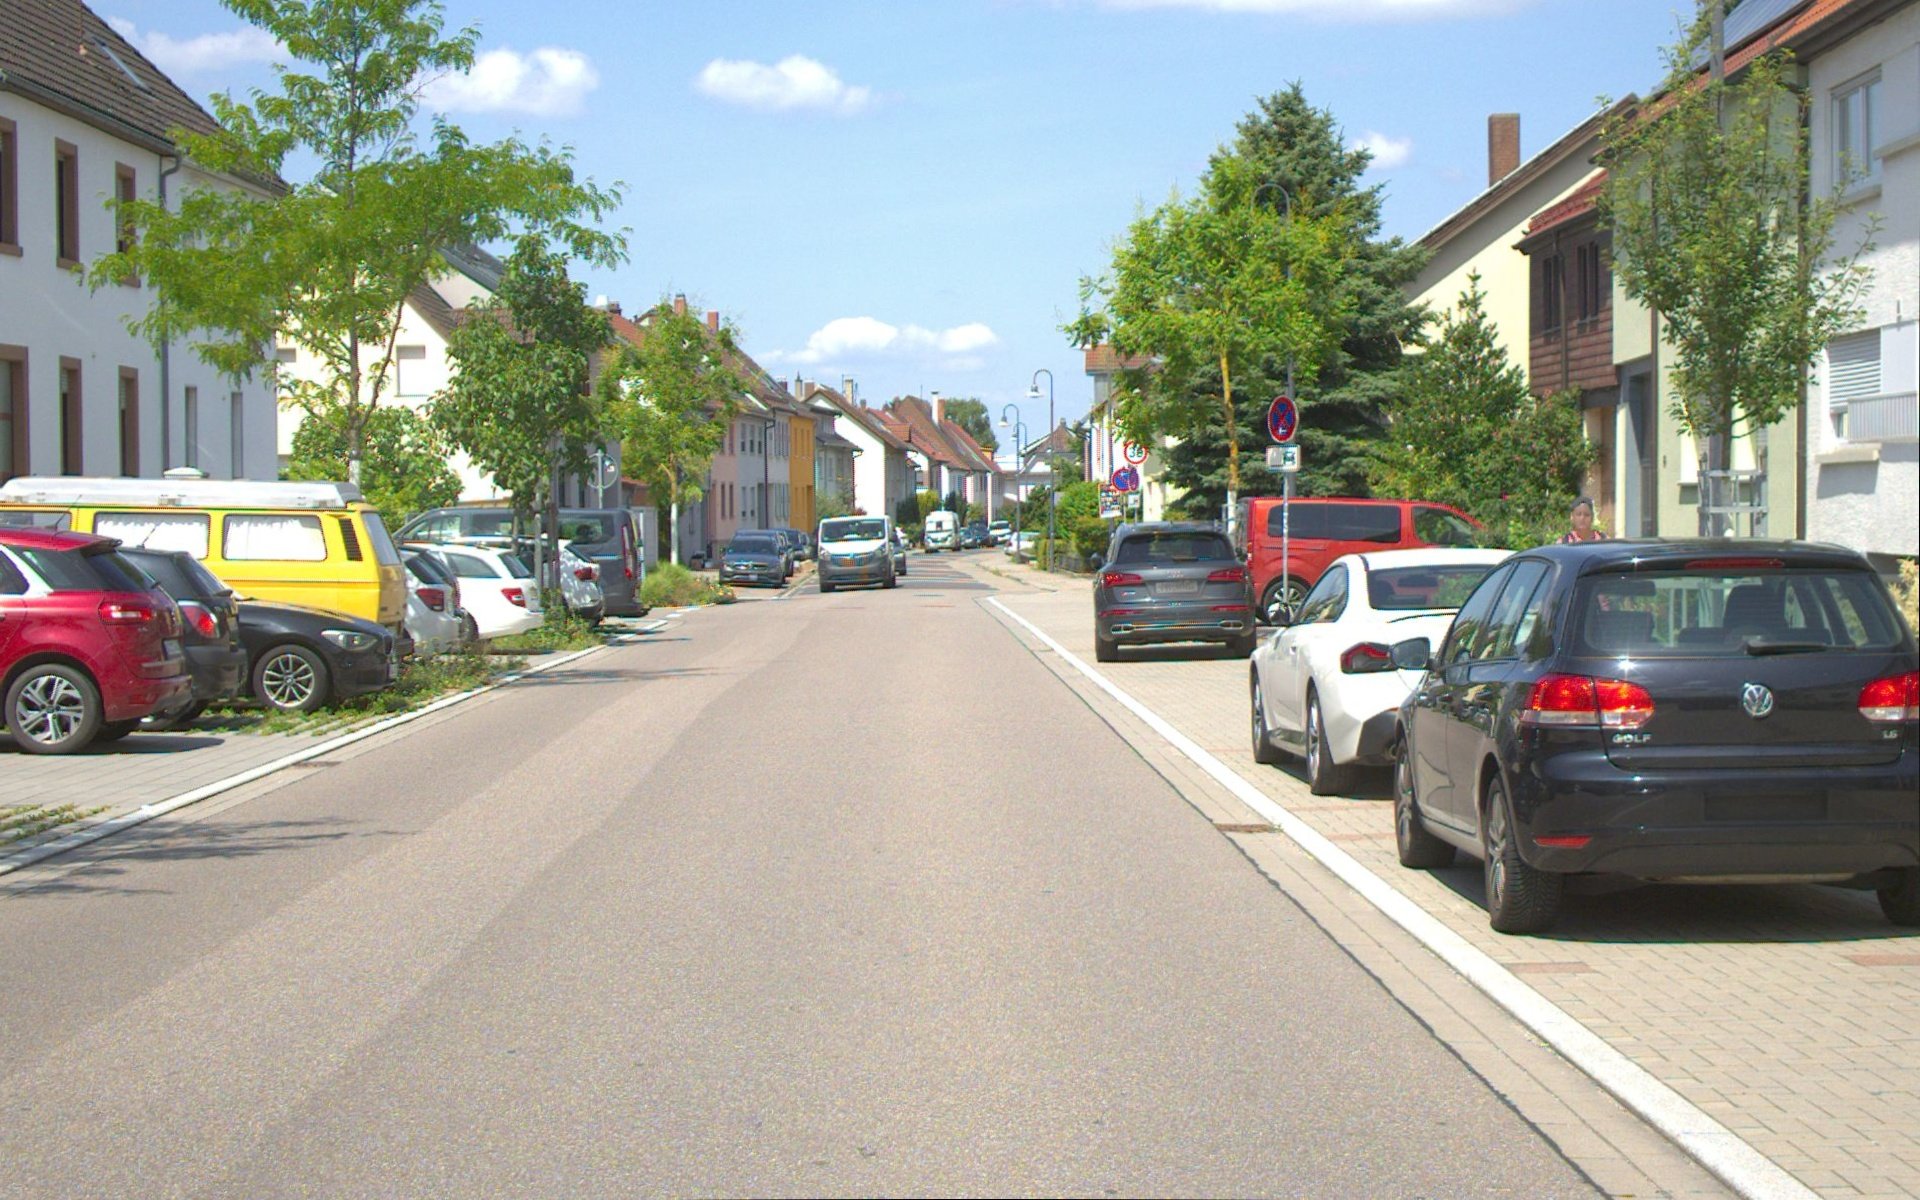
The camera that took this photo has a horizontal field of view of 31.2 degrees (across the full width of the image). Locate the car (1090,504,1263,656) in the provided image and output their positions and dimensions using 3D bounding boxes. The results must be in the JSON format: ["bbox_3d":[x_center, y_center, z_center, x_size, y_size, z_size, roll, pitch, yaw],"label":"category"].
[{"bbox_3d":[2.549,-0.288,41.410,1.864,1.630,4.446,-3,2,2],"label":"car"}]

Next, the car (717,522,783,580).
[{"bbox_3d":[-6.080,-1.440,99.862,1.816,1.428,4.140,3,2,-3],"label":"car"}]

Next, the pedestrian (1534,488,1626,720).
[{"bbox_3d":[4.734,0.023,26.283,0.557,1.743,0.673,-1,0,0],"label":"pedestrian"}]

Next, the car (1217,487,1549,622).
[{"bbox_3d":[6.231,-0.671,51.052,4.618,1.887,2.021,1,0,-1],"label":"car"}]

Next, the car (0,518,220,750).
[{"bbox_3d":[-7.667,0.202,24.834,4.253,1.606,1.843,1,1,-1],"label":"car"}]

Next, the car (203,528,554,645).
[{"bbox_3d":[-7.619,-0.182,45.289,4.295,1.463,1.774,1,0,1],"label":"car"}]

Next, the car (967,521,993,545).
[{"bbox_3d":[1.465,-4.837,248.255,1.691,1.654,3.771,1,1,3],"label":"car"}]

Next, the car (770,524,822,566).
[{"bbox_3d":[-6.445,-2.179,135.491,1.810,1.603,4.000,2,1,0],"label":"car"}]

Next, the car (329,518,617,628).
[{"bbox_3d":[-7.345,-0.415,52.168,4.182,1.563,1.774,1,0,-4],"label":"car"}]

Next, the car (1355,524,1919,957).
[{"bbox_3d":[2.748,0.457,14.139,1.767,1.524,4.007,0,1,0],"label":"car"}]

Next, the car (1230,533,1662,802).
[{"bbox_3d":[2.839,0.324,21.077,1.832,1.460,4.520,0,1,-2],"label":"car"}]

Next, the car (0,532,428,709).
[{"bbox_3d":[-6.810,0.157,30.154,4.010,1.454,1.755,1,1,0],"label":"car"}]

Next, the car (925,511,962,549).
[{"bbox_3d":[-1.046,-4.453,218.931,2.045,2.304,3.771,1,1,3],"label":"car"}]

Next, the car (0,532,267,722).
[{"bbox_3d":[-7.603,0.185,27.559,3.791,1.454,1.755,1,1,-3],"label":"car"}]

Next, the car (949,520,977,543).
[{"bbox_3d":[0.207,-4.780,240.782,1.691,1.498,3.771,1,1,3],"label":"car"}]

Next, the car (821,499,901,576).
[{"bbox_3d":[-2.584,-1.625,90.313,2.022,1.943,4.899,-1,1,-1],"label":"car"}]

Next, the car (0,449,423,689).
[{"bbox_3d":[-7.513,-0.312,32.672,4.508,2.170,1.925,1,1,0],"label":"car"}]

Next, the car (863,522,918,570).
[{"bbox_3d":[-2.326,-1.812,114.775,1.762,1.517,4.049,-2,1,-1],"label":"car"}]

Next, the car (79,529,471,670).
[{"bbox_3d":[-7.369,-0.016,37.277,4.071,1.463,1.754,1,1,-9],"label":"car"}]

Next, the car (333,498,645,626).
[{"bbox_3d":[-7.484,-0.606,54.909,4.700,1.916,1.938,1,0,-1],"label":"car"}]

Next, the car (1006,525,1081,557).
[{"bbox_3d":[4.010,-2.826,164.730,3.523,1.459,1.628,1,0,0],"label":"car"}]
